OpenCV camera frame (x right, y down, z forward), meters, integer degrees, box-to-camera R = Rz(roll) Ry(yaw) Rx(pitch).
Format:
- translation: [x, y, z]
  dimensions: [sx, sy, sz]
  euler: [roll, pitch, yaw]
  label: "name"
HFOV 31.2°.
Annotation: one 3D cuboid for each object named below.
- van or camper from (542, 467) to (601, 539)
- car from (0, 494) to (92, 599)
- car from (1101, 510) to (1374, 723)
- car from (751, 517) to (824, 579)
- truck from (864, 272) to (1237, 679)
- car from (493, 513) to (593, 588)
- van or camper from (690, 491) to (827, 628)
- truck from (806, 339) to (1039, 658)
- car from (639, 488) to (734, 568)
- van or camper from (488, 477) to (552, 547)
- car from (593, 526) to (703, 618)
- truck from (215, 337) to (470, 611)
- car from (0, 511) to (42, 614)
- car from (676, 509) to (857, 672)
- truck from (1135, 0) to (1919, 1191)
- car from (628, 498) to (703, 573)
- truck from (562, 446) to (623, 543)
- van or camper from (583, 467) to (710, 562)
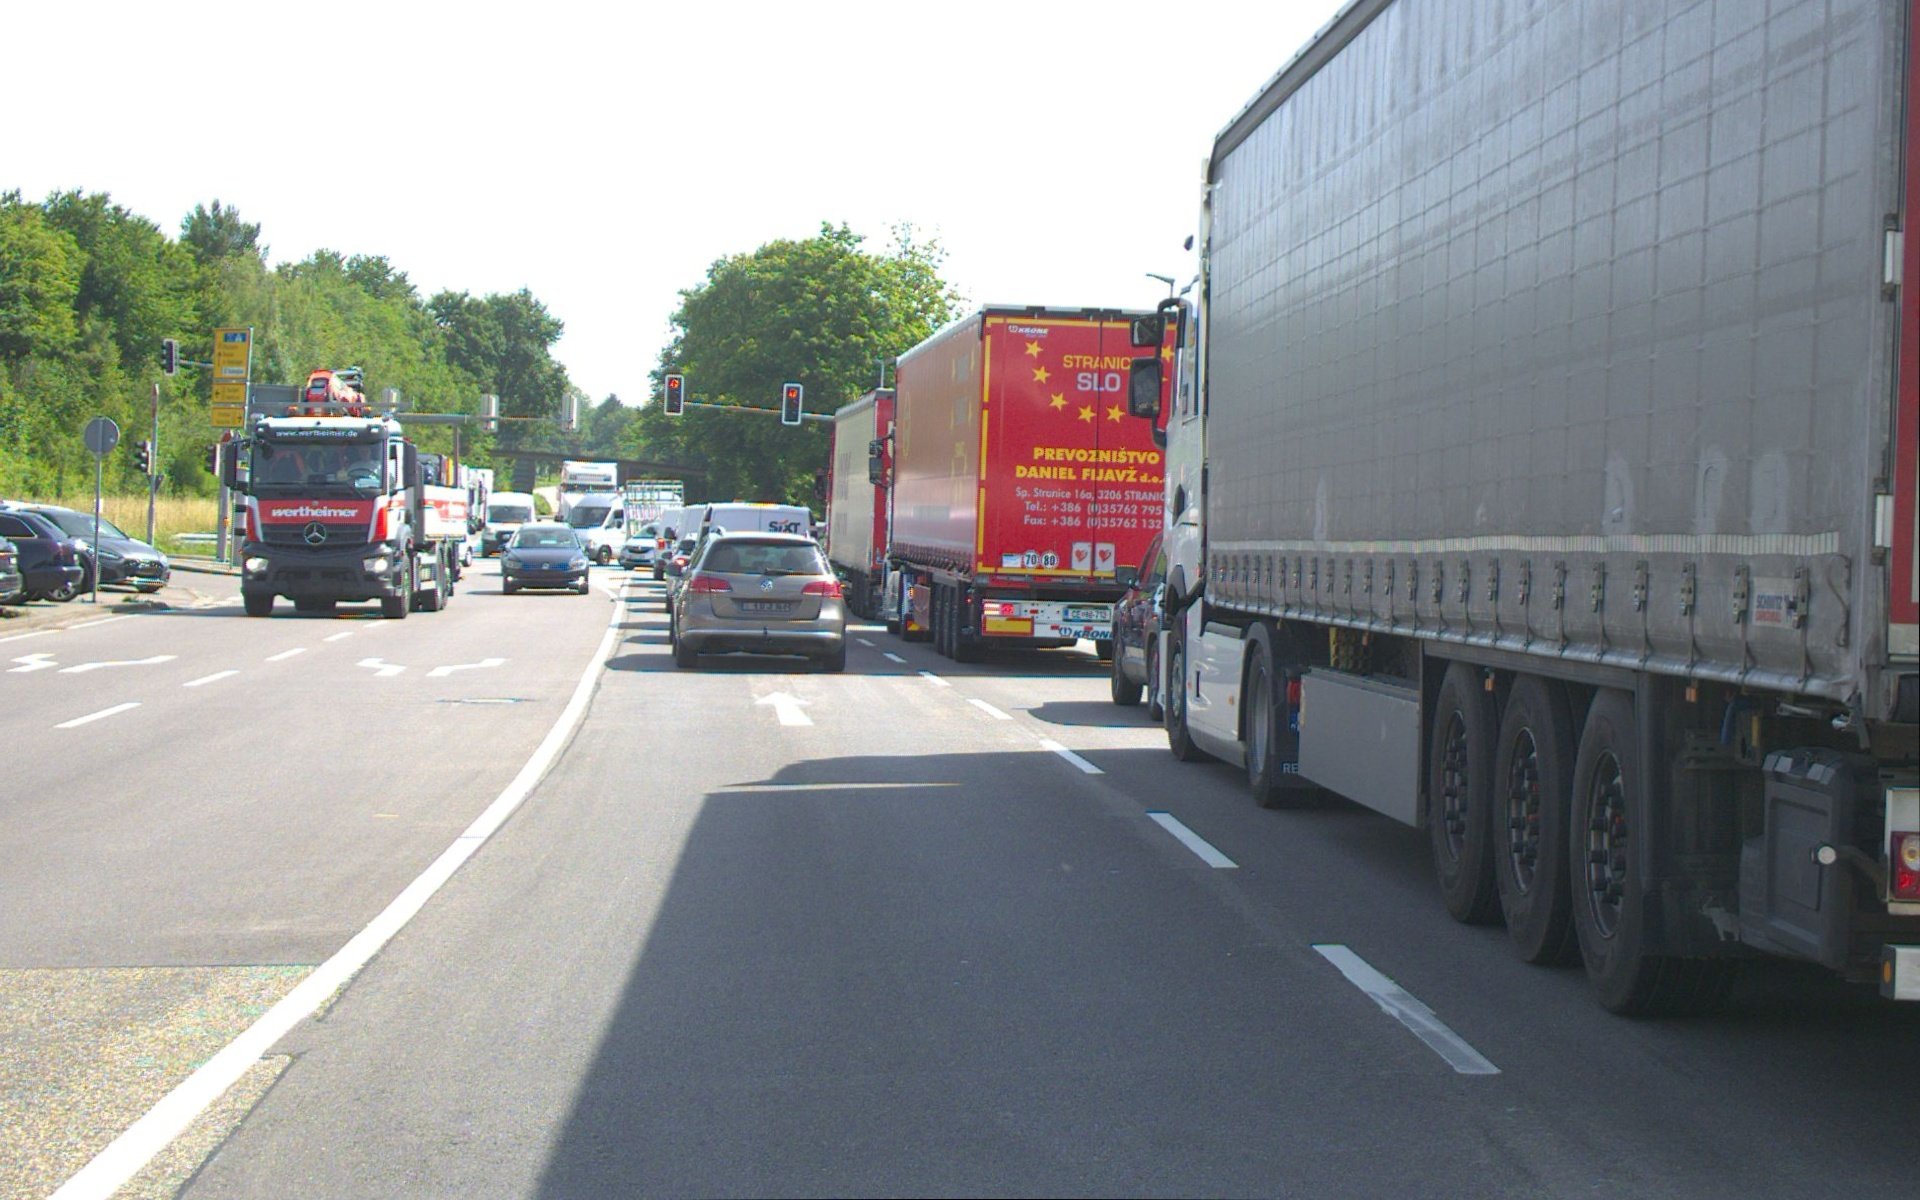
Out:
- translation: [-16.230, -4.029, 143.864]
  dimensions: [2.223, 2.831, 5.712]
  euler: [2, 0, -5]
  label: "van or camper"
- translation: [-15.250, -0.844, 52.055]
  dimensions: [3.816, 1.534, 1.843]
  euler: [1, 1, -5]
  label: "car"
- translation: [2.305, 0.087, 29.519]
  dimensions: [1.818, 1.679, 4.001]
  euler: [1, 1, -3]
  label: "car"
- translation: [-4.549, -1.358, 90.320]
  dimensions: [1.726, 1.514, 3.313]
  euler: [2, 0, -5]
  label: "car"
- translation: [0.742, -1.533, 45.141]
  dimensions: [2.956, 4.255, 16.587]
  euler: [2, 1, -5]
  label: "truck"
- translation: [-8.988, -1.094, 74.383]
  dimensions: [1.806, 1.554, 4.388]
  euler: [1, 1, -3]
  label: "car"
- translation: [-3.045, -0.631, 51.265]
  dimensions: [1.852, 1.899, 3.785]
  euler: [2, 1, -5]
  label: "van or camper"
- translation: [-0.995, -1.896, 65.718]
  dimensions: [3.062, 5.202, 17.010]
  euler: [2, 1, -5]
  label: "truck"
- translation: [-5.482, -1.426, 69.198]
  dimensions: [1.726, 1.514, 3.312]
  euler: [2, 0, -2]
  label: "car"
- translation: [-16.786, -3.362, 131.389]
  dimensions: [2.173, 2.542, 4.171]
  euler: [2, 1, -5]
  label: "van or camper"
- translation: [-5.470, -0.494, 60.609]
  dimensions: [1.726, 1.514, 3.312]
  euler: [2, 0, -2]
  label: "car"
- translation: [-10.218, -2.067, 58.001]
  dimensions: [2.956, 4.194, 10.648]
  euler: [0, 1, -3]
  label: "truck"
- translation: [-15.214, -0.579, 49.055]
  dimensions: [3.816, 1.443, 1.843]
  euler: [1, 1, -5]
  label: "car"
- translation: [-2.019, -0.127, 36.744]
  dimensions: [1.790, 1.633, 3.504]
  euler: [1, 1, -1]
  label: "car"
- translation: [3.056, -0.943, 16.031]
  dimensions: [2.890, 4.251, 16.711]
  euler: [1, 1, -2]
  label: "truck"
- translation: [-7.854, -1.718, 91.809]
  dimensions: [1.727, 1.902, 3.312]
  euler: [2, 0, -2]
  label: "car"
- translation: [-16.786, -4.811, 157.235]
  dimensions: [2.552, 4.292, 7.597]
  euler: [0, 1, -5]
  label: "truck"
- translation: [-10.834, -2.937, 119.221]
  dimensions: [2.209, 3.046, 5.897]
  euler: [-1, -1, 18]
  label: "van or camper"
